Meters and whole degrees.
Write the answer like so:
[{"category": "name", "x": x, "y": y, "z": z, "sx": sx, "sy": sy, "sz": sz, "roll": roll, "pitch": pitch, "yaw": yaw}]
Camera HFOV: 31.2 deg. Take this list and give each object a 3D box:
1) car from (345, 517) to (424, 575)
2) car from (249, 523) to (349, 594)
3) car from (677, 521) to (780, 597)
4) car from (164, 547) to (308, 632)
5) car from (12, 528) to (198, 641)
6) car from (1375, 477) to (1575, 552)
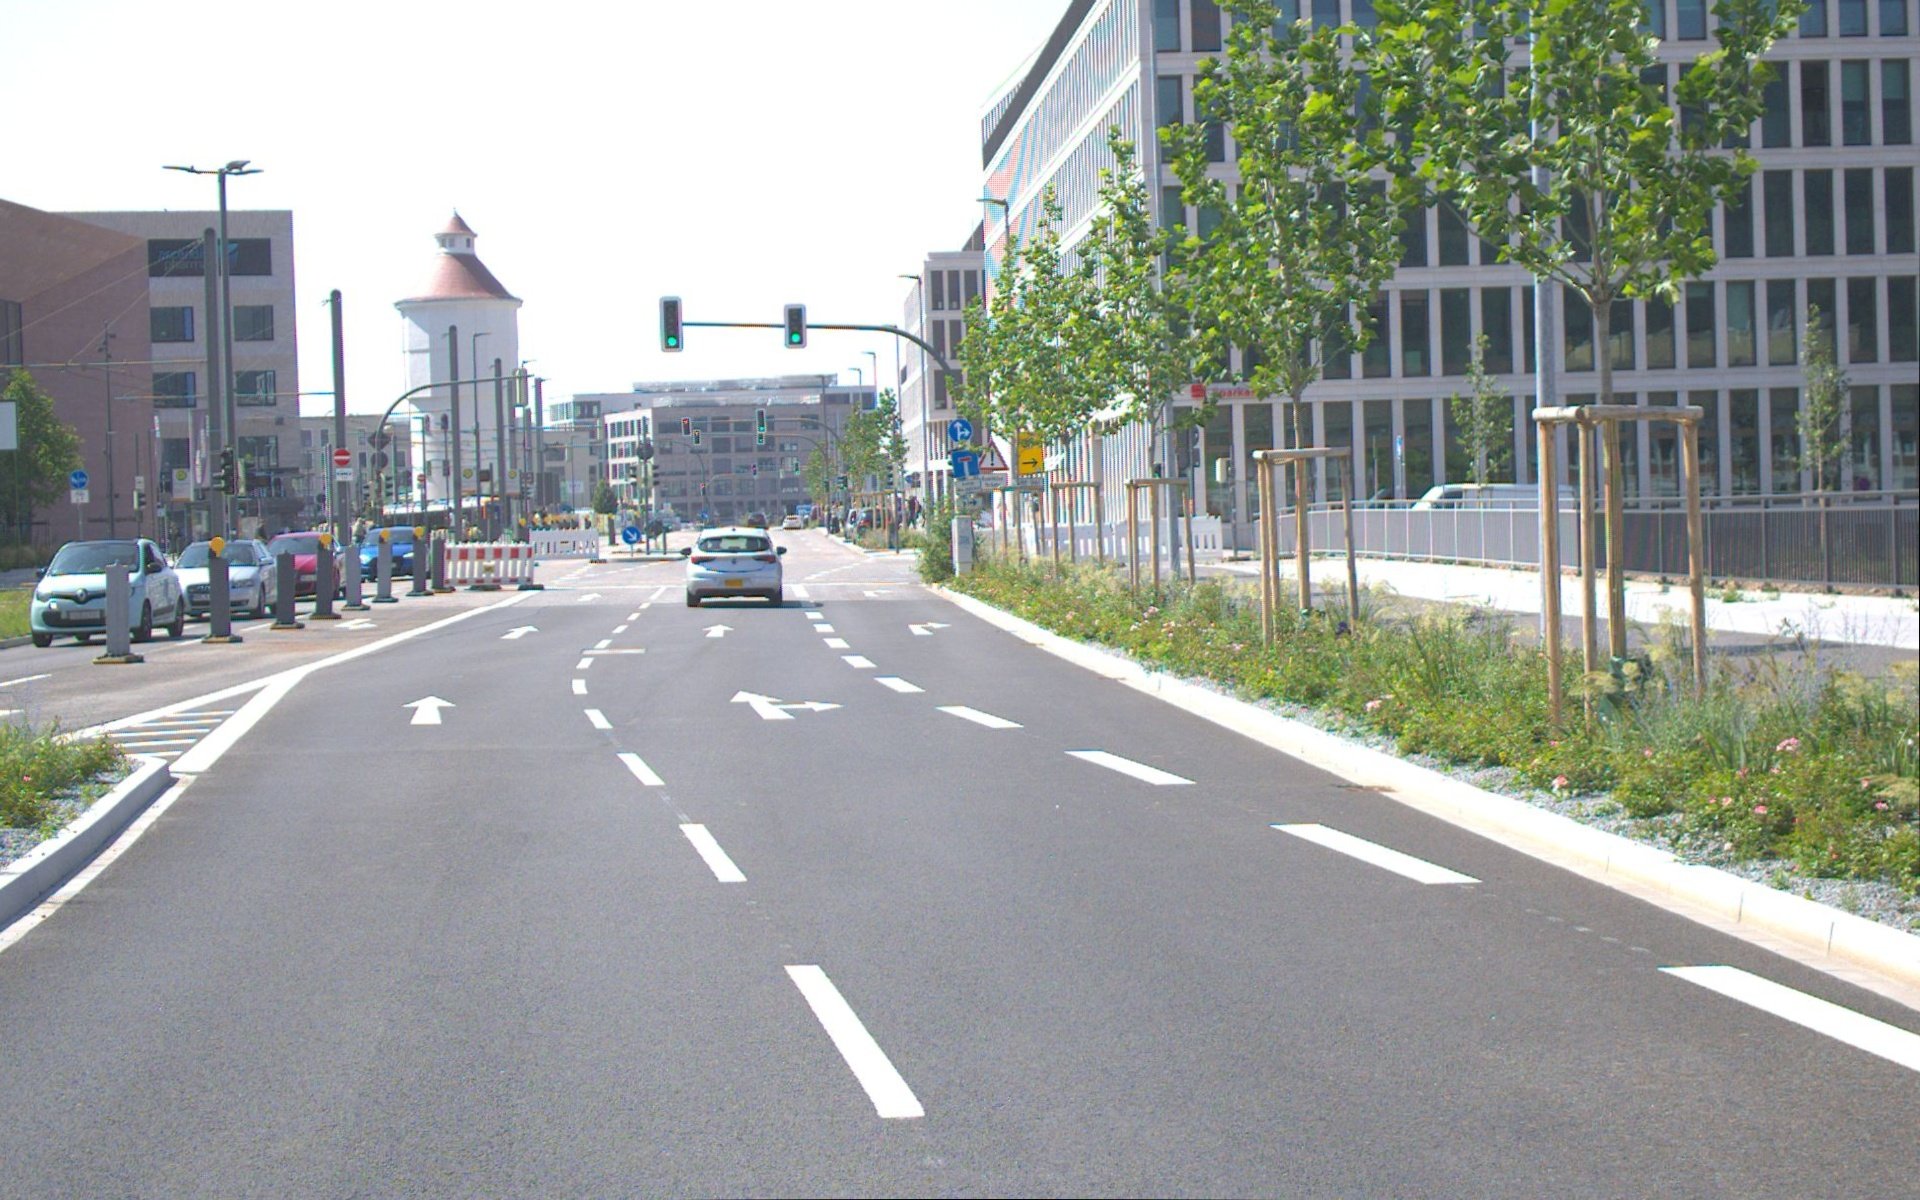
[{"category": "car", "x": -15.287, "y": -1.451, "z": 91.523, "sx": 1.628, "sy": 1.422, "sz": 4.291, "roll": -3, "pitch": 2, "yaw": -4}, {"category": "car", "x": -14.199, "y": -0.908, "z": 74.026, "sx": 1.580, "sy": 1.411, "sz": 4.000, "roll": -2, "pitch": 1, "yaw": -4}, {"category": "car", "x": -4.312, "y": -0.766, "z": 64.566, "sx": 1.771, "sy": 1.390, "sz": 3.532, "roll": 0, "pitch": 0, "yaw": -1}, {"category": "car", "x": -13.099, "y": -0.217, "z": 62.402, "sx": 1.580, "sy": 1.411, "sz": 4.296, "roll": -2, "pitch": 1, "yaw": 1}, {"category": "car", "x": -12.750, "y": -0.256, "z": 51.465, "sx": 1.580, "sy": 1.525, "sz": 3.620, "roll": -4, "pitch": 1, "yaw": 4}, {"category": "car", "x": 16.045, "y": -2.668, "z": 107.238, "sx": 5.836, "sy": 2.262, "sz": 2.147, "roll": 1, "pitch": 2, "yaw": -3}]
